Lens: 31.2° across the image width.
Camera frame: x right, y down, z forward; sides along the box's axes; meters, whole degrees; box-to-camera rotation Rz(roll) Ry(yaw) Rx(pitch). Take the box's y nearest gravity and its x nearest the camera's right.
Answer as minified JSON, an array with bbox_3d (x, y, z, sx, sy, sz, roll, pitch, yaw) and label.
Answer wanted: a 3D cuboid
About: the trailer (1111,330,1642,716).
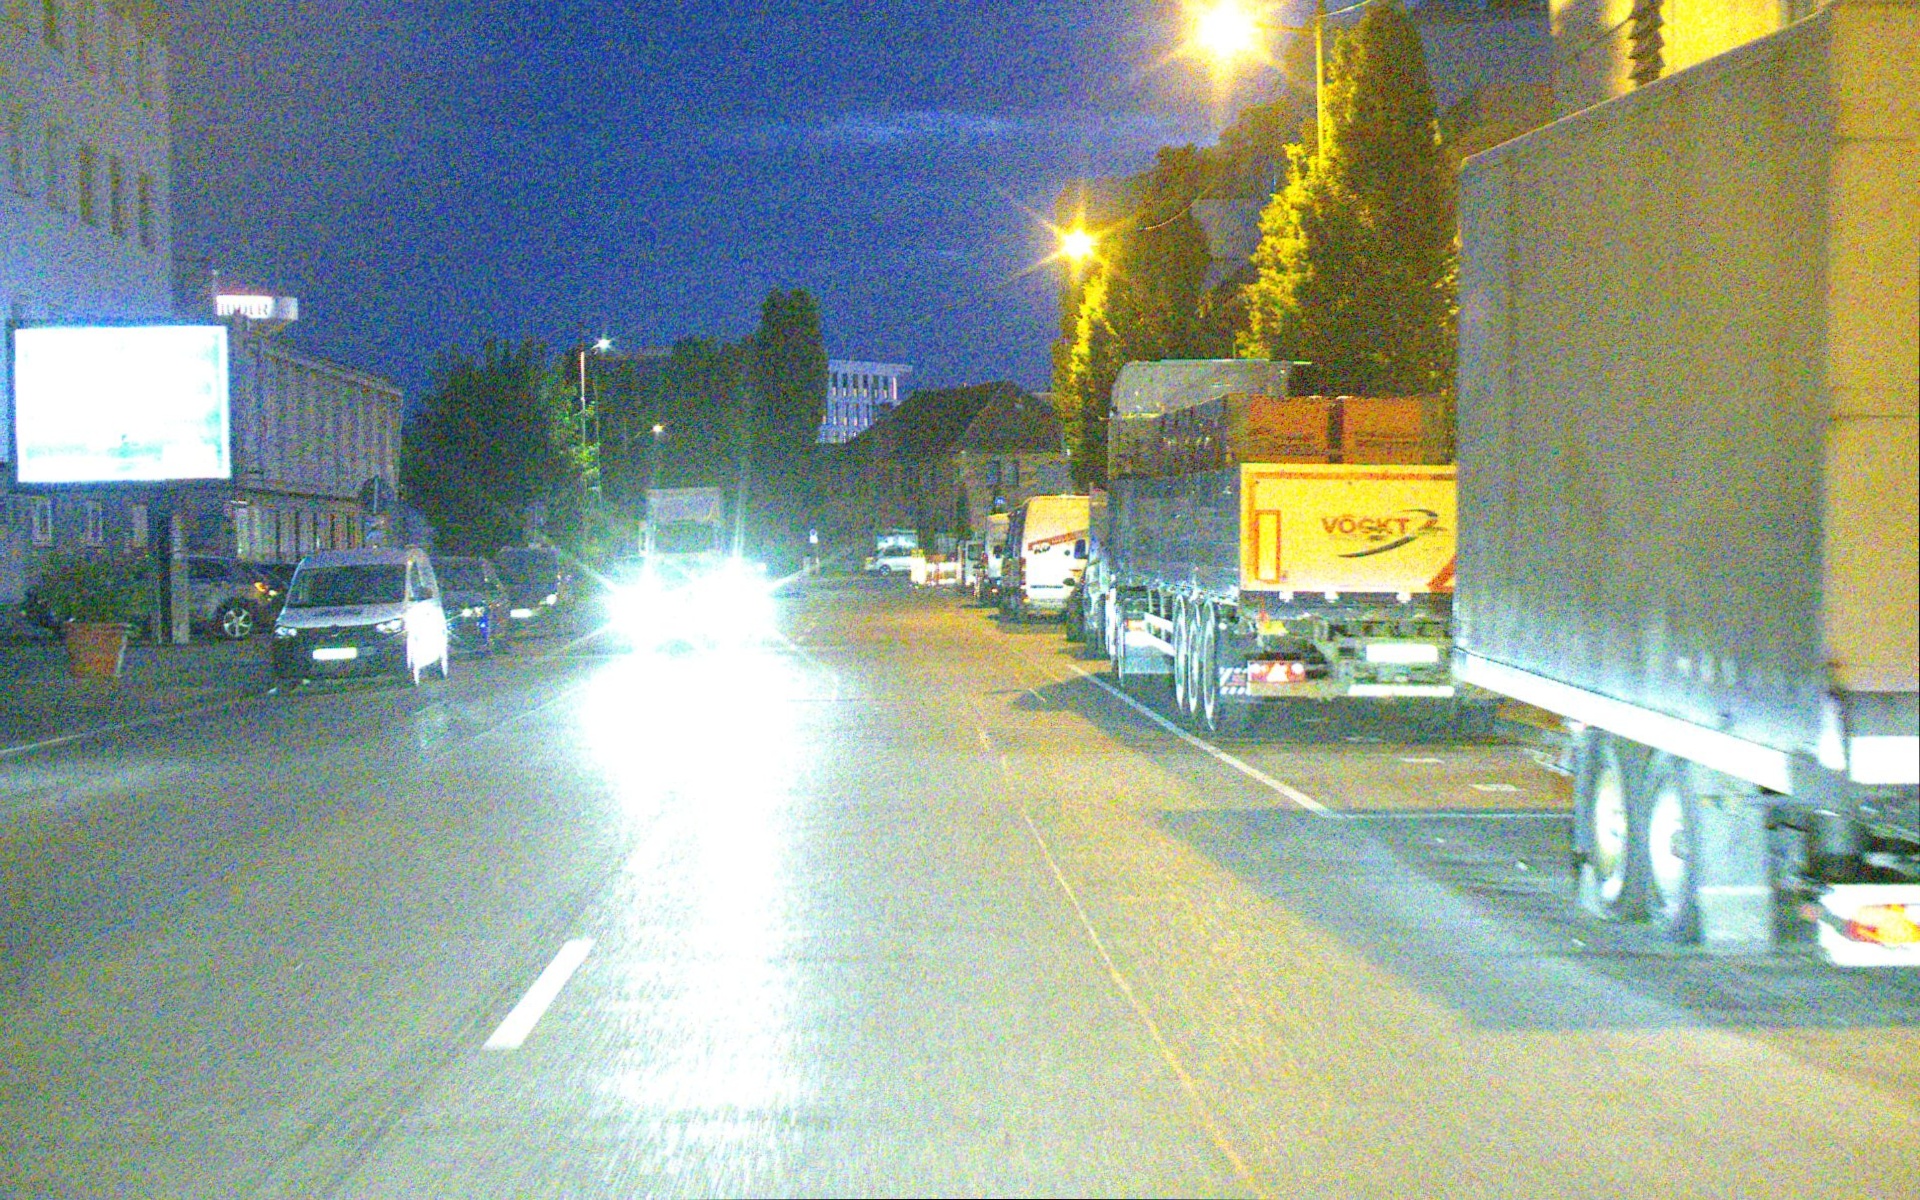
[{"bbox_3d":[3.324,-0.600,30.843,3.184,2.739,10.715,-2,0,-1],"label":"trailer"}]

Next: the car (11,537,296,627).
[{"bbox_3d":[-14.304,-0.334,60.970,4.612,1.480,2.000,-1,1,-23],"label":"car"}]

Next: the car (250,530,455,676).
[{"bbox_3d":[-7.855,0.004,44.775,1.993,1.787,4.000,-1,1,-1],"label":"car"}]

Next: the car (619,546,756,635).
[{"bbox_3d":[-4.451,-0.181,56.633,1.993,1.393,4.000,-1,1,-1],"label":"car"}]

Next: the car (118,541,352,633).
[{"bbox_3d":[-14.017,-0.253,66.435,3.986,1.589,2.000,-2,0,-27],"label":"car"}]

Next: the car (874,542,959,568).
[{"bbox_3d":[-2.357,-2.458,187.138,4.531,1.375,2.000,-1,0,3],"label":"car"}]

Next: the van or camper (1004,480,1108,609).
[{"bbox_3d":[1.968,-1.153,71.833,1.993,2.573,4.915,-1,1,0],"label":"van or camper"}]

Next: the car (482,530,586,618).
[{"bbox_3d":[-8.669,-0.546,70.241,1.897,1.730,4.356,-1,1,-4],"label":"car"}]

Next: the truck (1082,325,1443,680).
[{"bbox_3d":[3.170,-1.002,37.982,3.151,3.451,6.673,-2,0,-1],"label":"truck"}]

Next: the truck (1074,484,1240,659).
[{"bbox_3d":[2.809,-0.434,50.153,1.993,2.399,5.293,-1,1,-1],"label":"truck"}]

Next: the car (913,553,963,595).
[{"bbox_3d":[-0.916,-1.108,142.623,1.993,1.678,4.000,-1,1,-1],"label":"car"}]

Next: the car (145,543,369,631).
[{"bbox_3d":[-14.185,-0.264,69.393,3.986,1.589,2.000,-2,0,-27],"label":"car"}]

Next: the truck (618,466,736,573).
[{"bbox_3d":[-10.090,-2.829,121.691,3.889,3.609,8.262,-1,1,-6],"label":"truck"}]

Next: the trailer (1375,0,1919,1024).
[{"bbox_3d":[3.801,-0.459,14.523,2.686,3.452,7.810,0,0,-3],"label":"trailer"}]

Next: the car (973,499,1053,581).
[{"bbox_3d":[1.398,-1.609,92.270,1.993,2.138,4.000,-1,1,-1],"label":"car"}]

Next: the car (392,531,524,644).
[{"bbox_3d":[-8.058,-0.220,55.464,1.678,1.730,4.356,-1,1,-3],"label":"car"}]
